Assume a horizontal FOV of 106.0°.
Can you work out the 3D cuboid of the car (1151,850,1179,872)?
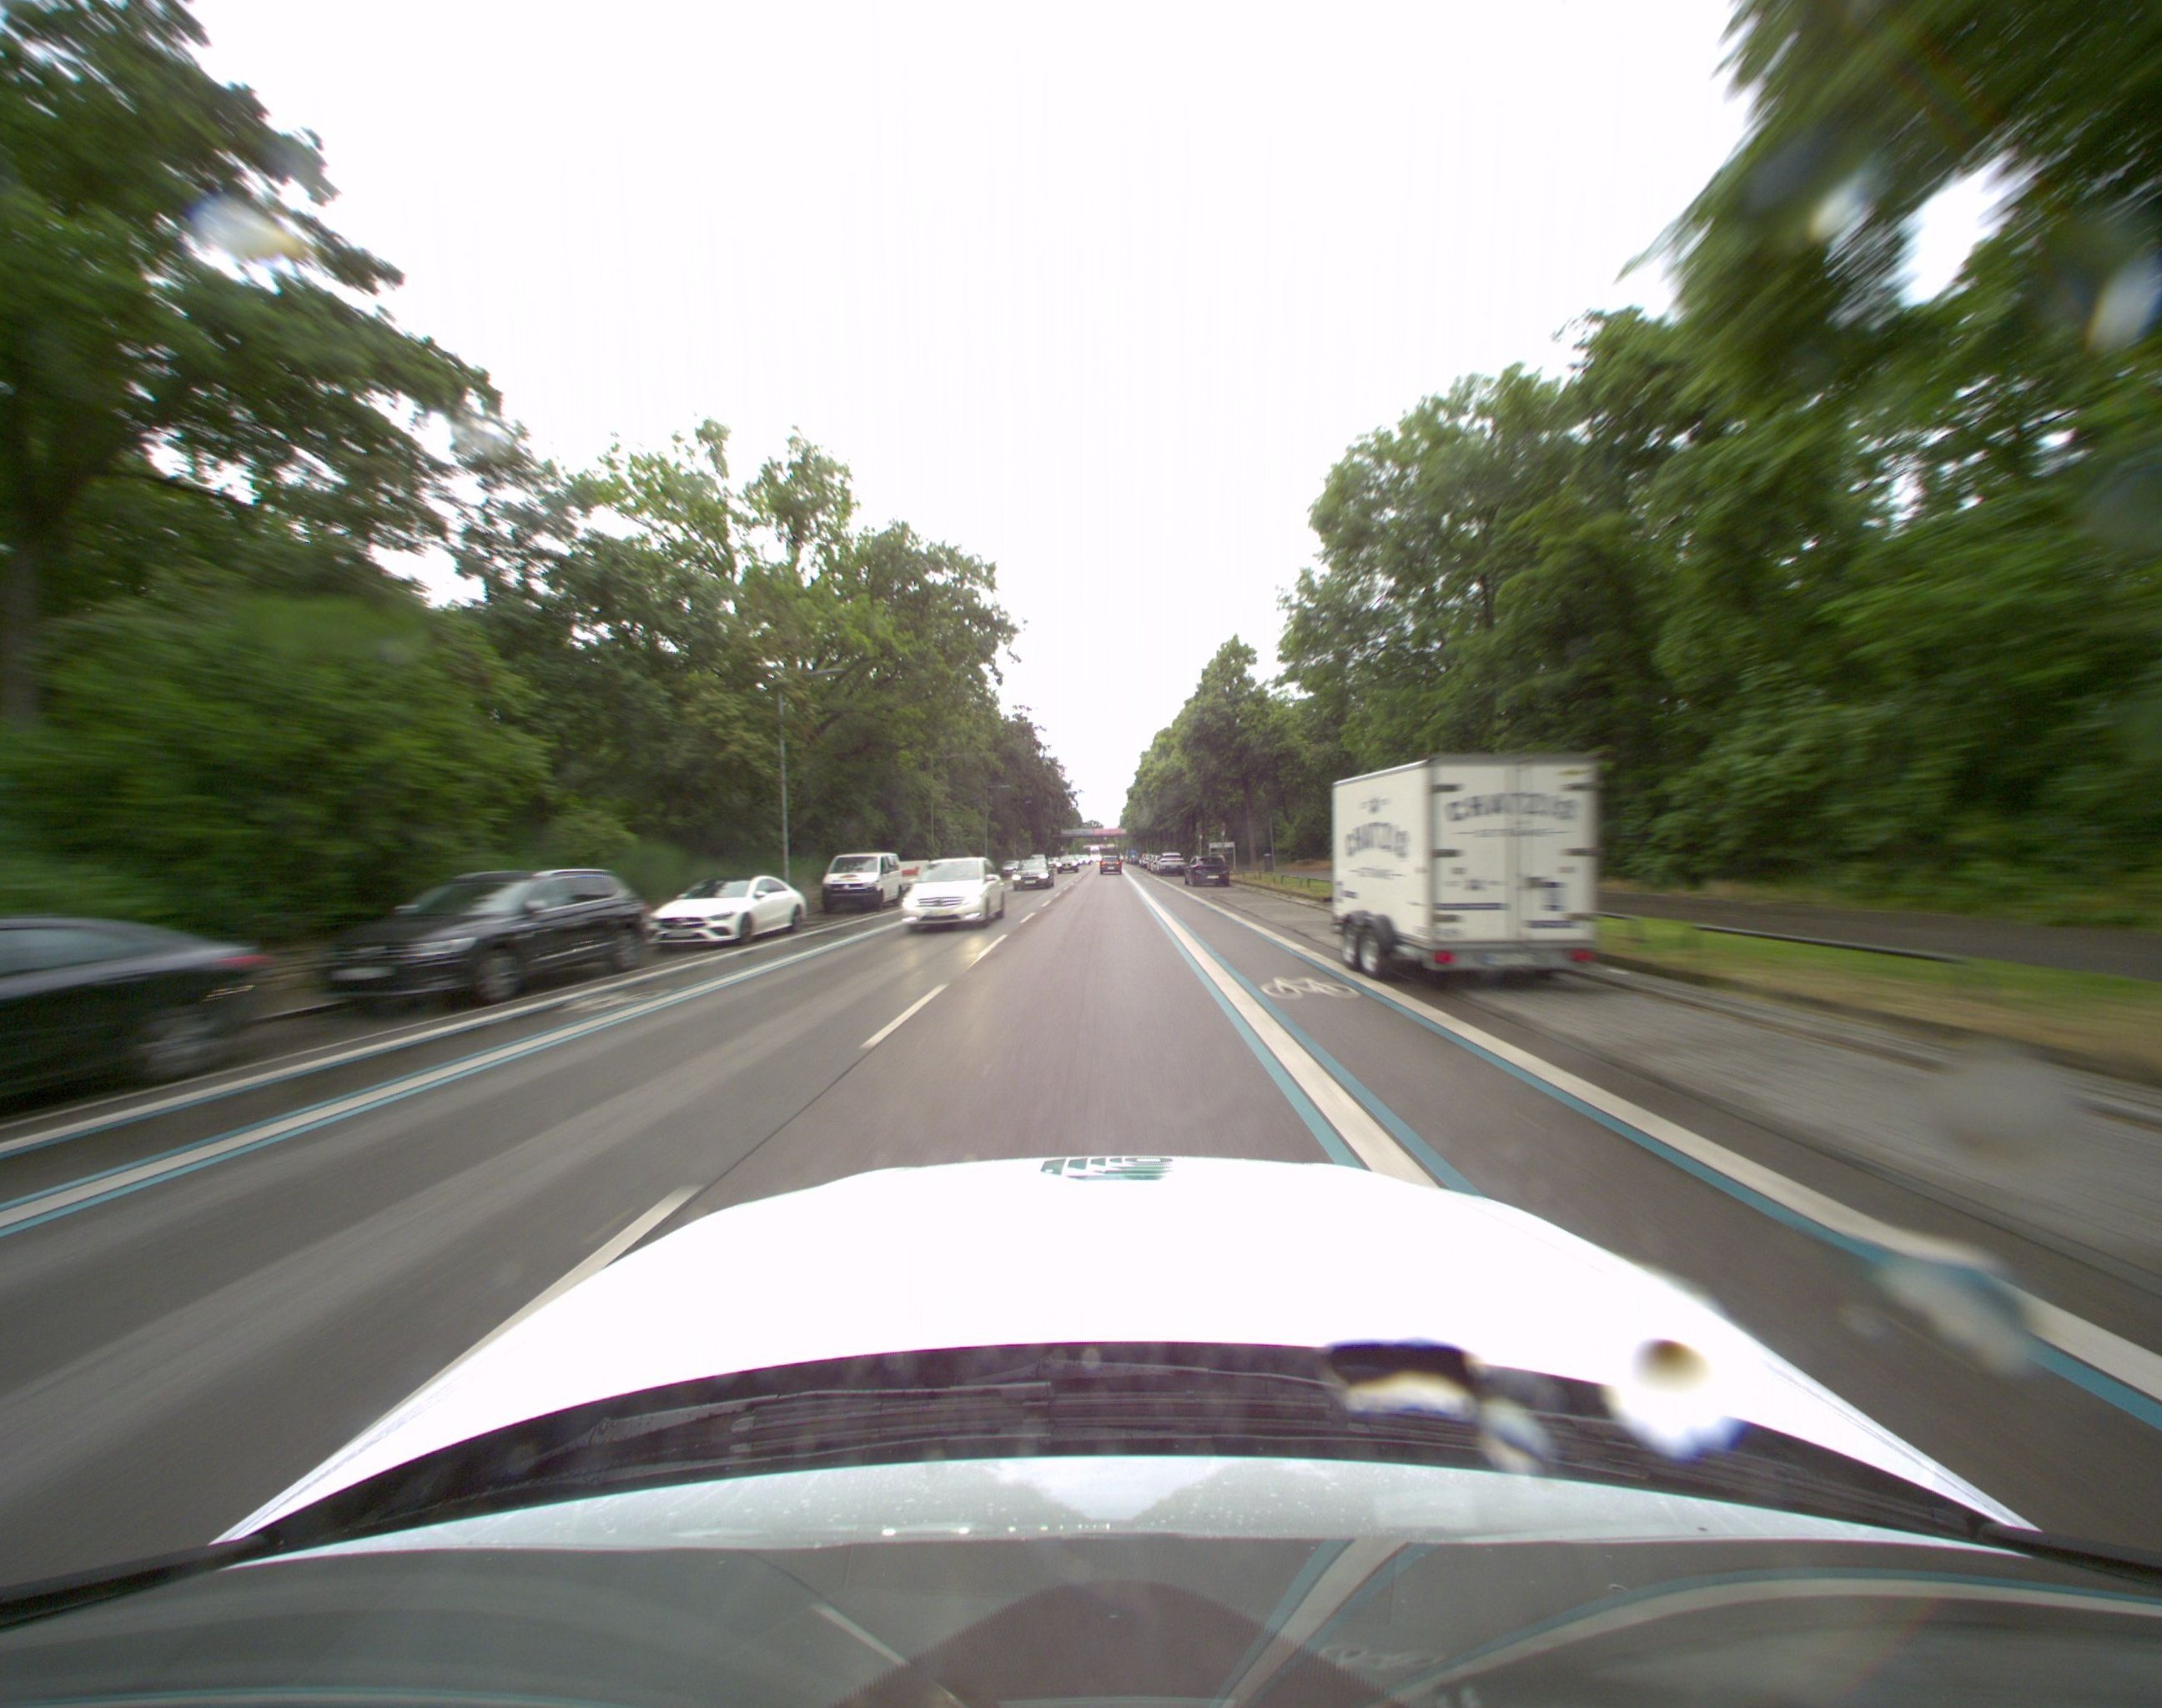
[{"bbox_3d":[6.503,0.543,63.177,1.890,1.606,4.002,-2,0,2],"label":"car"}]

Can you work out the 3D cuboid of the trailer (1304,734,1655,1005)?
[{"bbox_3d":[4.446,0.141,10.021,2.125,2.560,4.296,-2,0,-1],"label":"trailer"}]

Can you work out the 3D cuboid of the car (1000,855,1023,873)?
[{"bbox_3d":[-6.240,0.869,73.330,1.666,1.513,3.631,-1,0,1],"label":"car"}]

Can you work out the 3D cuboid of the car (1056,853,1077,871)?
[{"bbox_3d":[-1.352,0.683,76.124,1.699,1.572,4.002,-2,0,2],"label":"car"}]

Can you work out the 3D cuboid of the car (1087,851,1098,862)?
[{"bbox_3d":[2.435,0.568,170.074,1.986,2.014,4.001,-3,-3,2],"label":"car"}]

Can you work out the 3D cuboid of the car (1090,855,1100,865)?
[{"bbox_3d":[3.225,1.288,183.159,1.986,2.014,4.001,-3,-3,2],"label":"car"}]

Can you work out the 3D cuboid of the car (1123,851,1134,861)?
[{"bbox_3d":[9.381,0.383,161.725,1.986,1.750,4.002,-2,0,2],"label":"car"}]

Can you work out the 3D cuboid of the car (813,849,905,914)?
[{"bbox_3d":[-7.582,0.860,28.359,1.934,2.013,4.738,-2,0,-1],"label":"car"}]

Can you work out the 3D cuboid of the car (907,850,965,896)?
[{"bbox_3d":[-6.790,0.841,38.739,1.934,2.013,4.738,-2,0,-1],"label":"car"}]

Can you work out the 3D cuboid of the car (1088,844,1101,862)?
[{"bbox_3d":[3.744,-0.269,227.094,3.341,4.951,9.013,-1,0,1],"label":"car"}]

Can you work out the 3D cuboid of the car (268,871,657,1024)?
[{"bbox_3d":[-8.114,1.099,11.381,1.872,1.561,4.470,-2,0,2],"label":"car"}]

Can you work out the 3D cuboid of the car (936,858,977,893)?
[{"bbox_3d":[-6.883,1.177,45.156,1.569,1.770,3.417,-2,0,2],"label":"car"}]

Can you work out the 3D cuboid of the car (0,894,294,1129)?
[{"bbox_3d":[-8.261,1.149,5.326,1.802,1.488,4.469,-2,0,1],"label":"car"}]

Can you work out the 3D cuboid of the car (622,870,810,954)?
[{"bbox_3d":[-7.792,1.164,17.959,1.986,1.488,4.470,-2,0,2],"label":"car"}]

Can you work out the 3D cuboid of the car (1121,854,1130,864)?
[{"bbox_3d":[10.096,1.219,185.033,1.986,2.014,4.001,-3,-3,2],"label":"car"}]

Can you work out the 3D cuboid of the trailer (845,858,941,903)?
[{"bbox_3d":[-7.632,1.059,33.332,1.609,1.628,3.696,-2,0,32],"label":"trailer"}]

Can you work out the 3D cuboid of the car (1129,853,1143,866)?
[{"bbox_3d":[8.435,0.812,124.958,1.986,1.772,4.002,-3,-1,2],"label":"car"}]

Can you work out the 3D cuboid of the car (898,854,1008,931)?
[{"bbox_3d":[-2.844,0.811,18.986,1.829,1.517,4.001,-2,0,1],"label":"car"}]

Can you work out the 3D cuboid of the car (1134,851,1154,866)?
[{"bbox_3d":[6.838,0.456,89.033,1.986,1.562,4.002,-2,0,2],"label":"car"}]

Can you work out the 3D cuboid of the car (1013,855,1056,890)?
[{"bbox_3d":[-2.250,0.866,40.168,1.699,1.572,4.002,-2,0,2],"label":"car"}]

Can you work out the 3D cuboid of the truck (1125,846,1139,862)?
[{"bbox_3d":[8.389,-0.008,133.234,2.105,2.599,4.303,-2,0,2],"label":"truck"}]

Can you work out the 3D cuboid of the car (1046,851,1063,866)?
[{"bbox_3d":[-3.945,0.661,122.484,2.150,2.013,5.034,-2,0,3],"label":"car"}]

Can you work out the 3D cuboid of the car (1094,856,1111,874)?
[{"bbox_3d":[2.566,1.261,96.370,1.986,2.013,4.002,-2,0,2],"label":"car"}]

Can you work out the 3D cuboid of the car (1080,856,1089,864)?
[{"bbox_3d":[0.560,0.957,128.893,1.373,1.131,3.314,-2,0,1],"label":"car"}]

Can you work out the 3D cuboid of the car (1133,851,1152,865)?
[{"bbox_3d":[7.138,0.464,94.834,1.986,1.562,4.002,-2,0,2],"label":"car"}]

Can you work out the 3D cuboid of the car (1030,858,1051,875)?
[{"bbox_3d":[-5.159,1.570,105.392,2.150,2.013,5.034,-2,0,3],"label":"car"}]

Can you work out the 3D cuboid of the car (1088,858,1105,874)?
[{"bbox_3d":[1.978,1.507,104.091,1.986,2.013,4.002,-2,0,2],"label":"car"}]

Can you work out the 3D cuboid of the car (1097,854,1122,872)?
[{"bbox_3d":[2.261,0.744,66.025,1.866,1.441,4.294,0,-1,-1],"label":"car"}]

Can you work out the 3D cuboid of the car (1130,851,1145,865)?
[{"bbox_3d":[8.115,0.588,117.146,1.987,2.013,4.000,-2,0,1],"label":"car"}]

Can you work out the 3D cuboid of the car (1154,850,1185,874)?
[{"bbox_3d":[6.320,0.533,58.494,1.890,1.606,4.002,-2,0,2],"label":"car"}]

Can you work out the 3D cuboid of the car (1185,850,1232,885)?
[{"bbox_3d":[5.994,0.615,38.778,1.715,1.525,4.002,-2,0,2],"label":"car"}]
